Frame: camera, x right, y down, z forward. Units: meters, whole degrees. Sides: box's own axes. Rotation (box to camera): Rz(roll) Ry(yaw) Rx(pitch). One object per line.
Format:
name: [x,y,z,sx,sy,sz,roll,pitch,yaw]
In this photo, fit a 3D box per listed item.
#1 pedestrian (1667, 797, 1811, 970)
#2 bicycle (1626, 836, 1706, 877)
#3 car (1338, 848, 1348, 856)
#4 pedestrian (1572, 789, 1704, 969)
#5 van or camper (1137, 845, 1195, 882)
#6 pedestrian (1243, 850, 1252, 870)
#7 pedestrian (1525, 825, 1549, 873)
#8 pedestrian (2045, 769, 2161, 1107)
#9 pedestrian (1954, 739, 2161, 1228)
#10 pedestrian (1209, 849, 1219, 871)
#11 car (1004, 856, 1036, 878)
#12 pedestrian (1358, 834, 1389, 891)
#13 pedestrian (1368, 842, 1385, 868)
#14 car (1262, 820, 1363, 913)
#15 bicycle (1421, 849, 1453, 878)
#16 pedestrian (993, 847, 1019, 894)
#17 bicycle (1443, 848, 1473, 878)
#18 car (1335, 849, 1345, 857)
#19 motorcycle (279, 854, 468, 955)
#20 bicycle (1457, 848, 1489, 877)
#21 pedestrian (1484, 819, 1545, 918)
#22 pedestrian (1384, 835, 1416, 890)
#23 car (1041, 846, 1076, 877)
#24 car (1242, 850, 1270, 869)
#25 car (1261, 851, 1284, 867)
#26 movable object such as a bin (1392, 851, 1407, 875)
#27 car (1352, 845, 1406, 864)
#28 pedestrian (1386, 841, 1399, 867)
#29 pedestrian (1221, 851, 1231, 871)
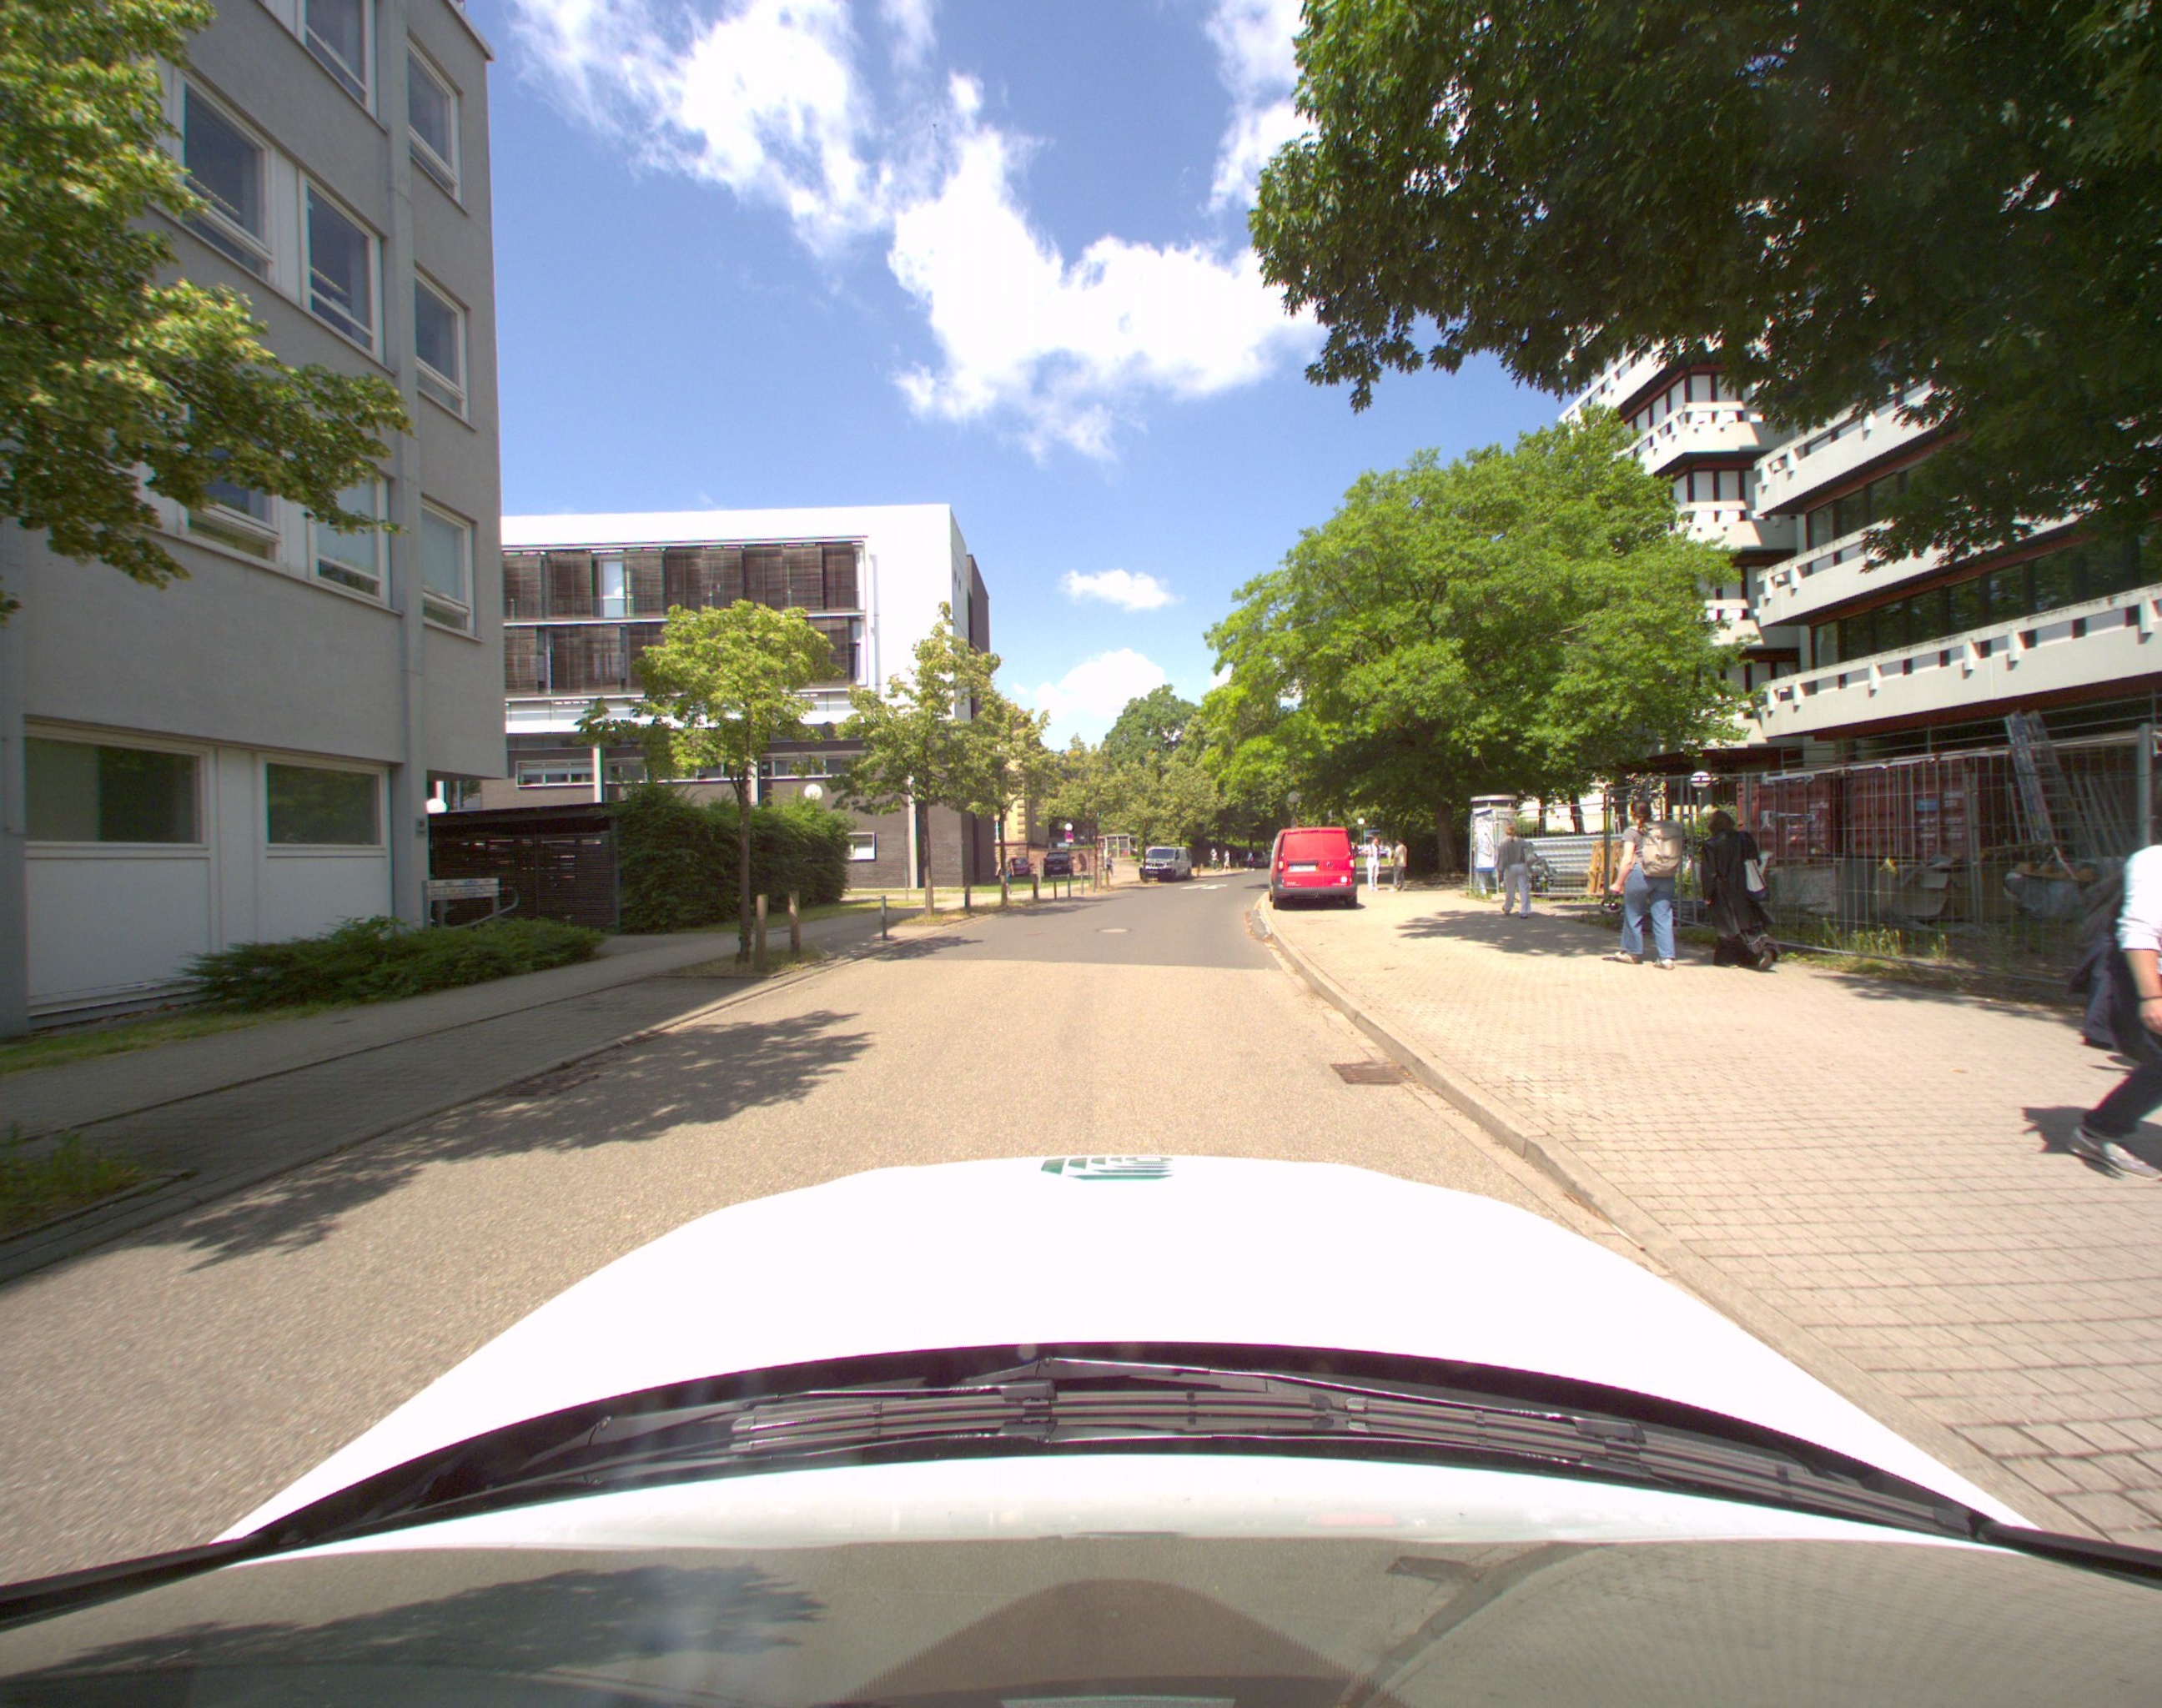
pedestrian: [6.510,0.282,8.115,0.664,1.600,0.987,-2,0,9]
bicycle: [16.029,0.087,22.355,0.500,1.078,1.797,-3,-1,-18]
car: [49.679,-0.383,154.518,1.602,1.365,4.585,-2,0,20]
pedestrian: [5.749,0.255,8.454,0.845,1.764,0.717,-2,0,7]
van or camper: [4.909,0.492,46.128,1.937,1.923,5.448,-1,0,21]
pedestrian: [13.058,0.467,63.829,0.497,1.585,0.489,-1,-1,-30]
pedestrian: [17.840,-0.182,31.880,0.540,1.837,0.763,-2,-1,7]
pedestrian: [5.635,0.405,4.008,0.648,1.666,0.903,-2,0,-3]
pedestrian: [4.260,0.463,3.229,0.692,1.781,0.787,-2,0,0]
pedestrian: [10.278,0.461,63.053,0.625,1.663,0.602,-2,0,-5]
car: [-4.020,0.850,54.369,1.811,1.324,3.767,-2,0,0]
pedestrian: [9.533,0.284,26.549,0.727,1.821,0.623,-1,-1,-35]
pedestrian: [21.936,0.080,60.451,0.814,1.754,0.845,-14,-5,21]
car: [5.377,0.257,19.482,1.837,1.891,4.905,-2,0,11]
bicycle: [14.544,0.389,33.330,0.616,1.119,1.875,-2,0,6]
pedestrian: [-2.851,0.629,31.089,0.578,1.764,0.916,-2,0,24]
bicycle: [15.063,0.354,32.574,0.496,1.119,1.875,-2,0,6]
car: [46.194,-0.252,145.241,1.602,1.365,4.020,-2,0,20]
motorcycle: [-11.642,0.796,13.481,2.090,1.551,1.081,-2,0,-3]
bicycle: [15.568,0.321,32.403,0.496,1.119,1.940,-2,0,6]
pedestrian: [7.421,0.241,13.969,0.708,1.631,0.714,-2,-1,11]
pedestrian: [10.047,0.270,25.666,0.748,1.710,0.558,-1,-1,-35]
car: [-1.455,0.481,54.399,2.169,1.926,5.183,-2,0,-1]
car: [15.266,0.449,70.887,1.744,1.522,4.133,-2,0,21]
car: [18.342,0.444,77.927,1.602,1.387,4.021,-2,0,21]
movable object such as a bin: [14.197,0.409,36.315,0.486,1.072,0.506,-2,0,8]
car: [26.939,0.080,73.598,4.446,1.525,1.820,-3,-1,22]
pedestrian: [22.892,-0.006,59.853,0.665,1.872,0.797,-2,-1,31]
pedestrian: [11.054,0.541,61.905,0.584,1.527,0.492,-1,0,-10]
